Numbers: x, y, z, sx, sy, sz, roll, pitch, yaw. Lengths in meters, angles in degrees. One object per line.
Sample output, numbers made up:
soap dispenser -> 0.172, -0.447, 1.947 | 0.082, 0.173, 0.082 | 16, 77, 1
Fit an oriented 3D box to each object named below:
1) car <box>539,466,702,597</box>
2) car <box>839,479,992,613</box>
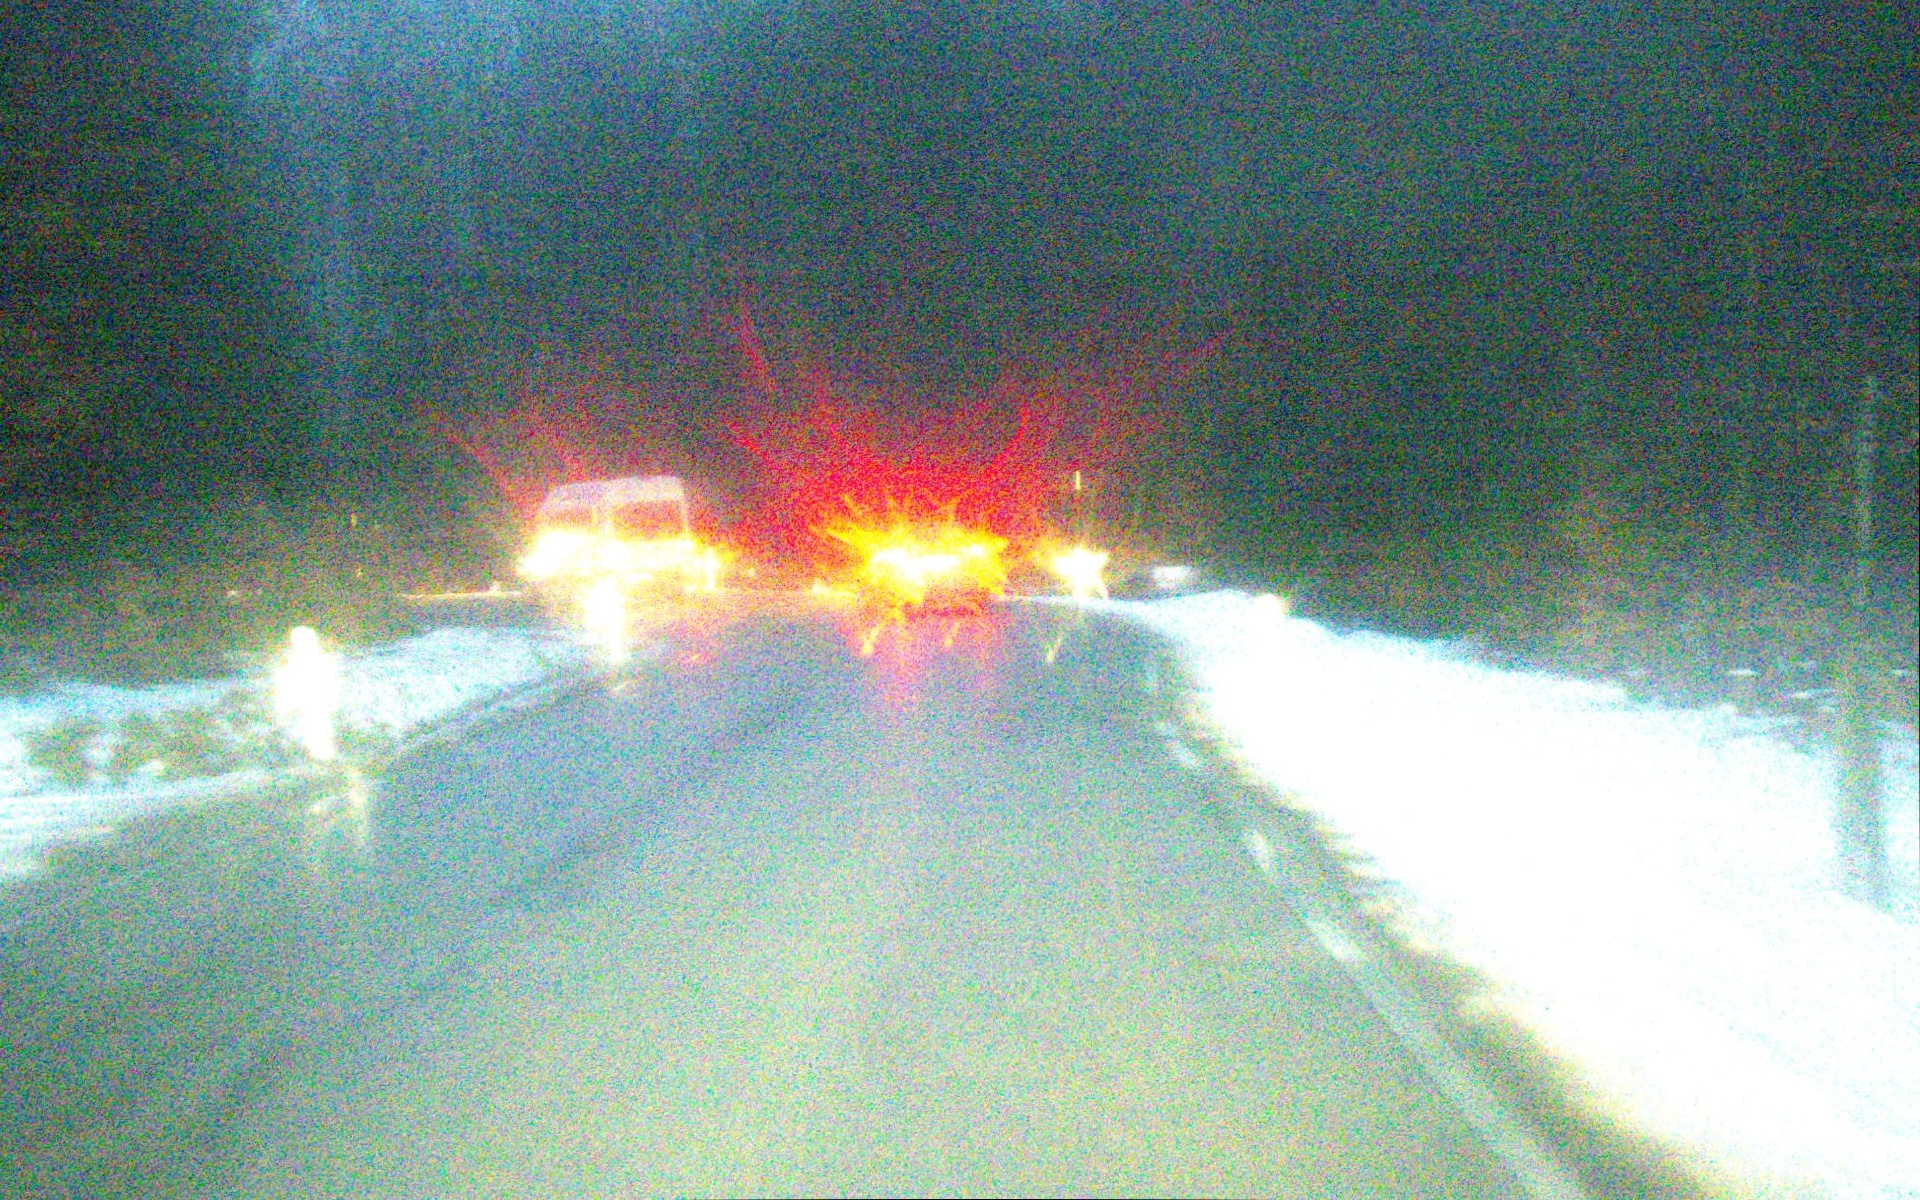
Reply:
car -> -7.326, -1.457, 73.703 | 2.252, 2.636, 5.008 | -2, 2, -20
car -> -0.766, -0.893, 55.461 | 1.993, 2.044, 4.001 | -1, 2, -7
